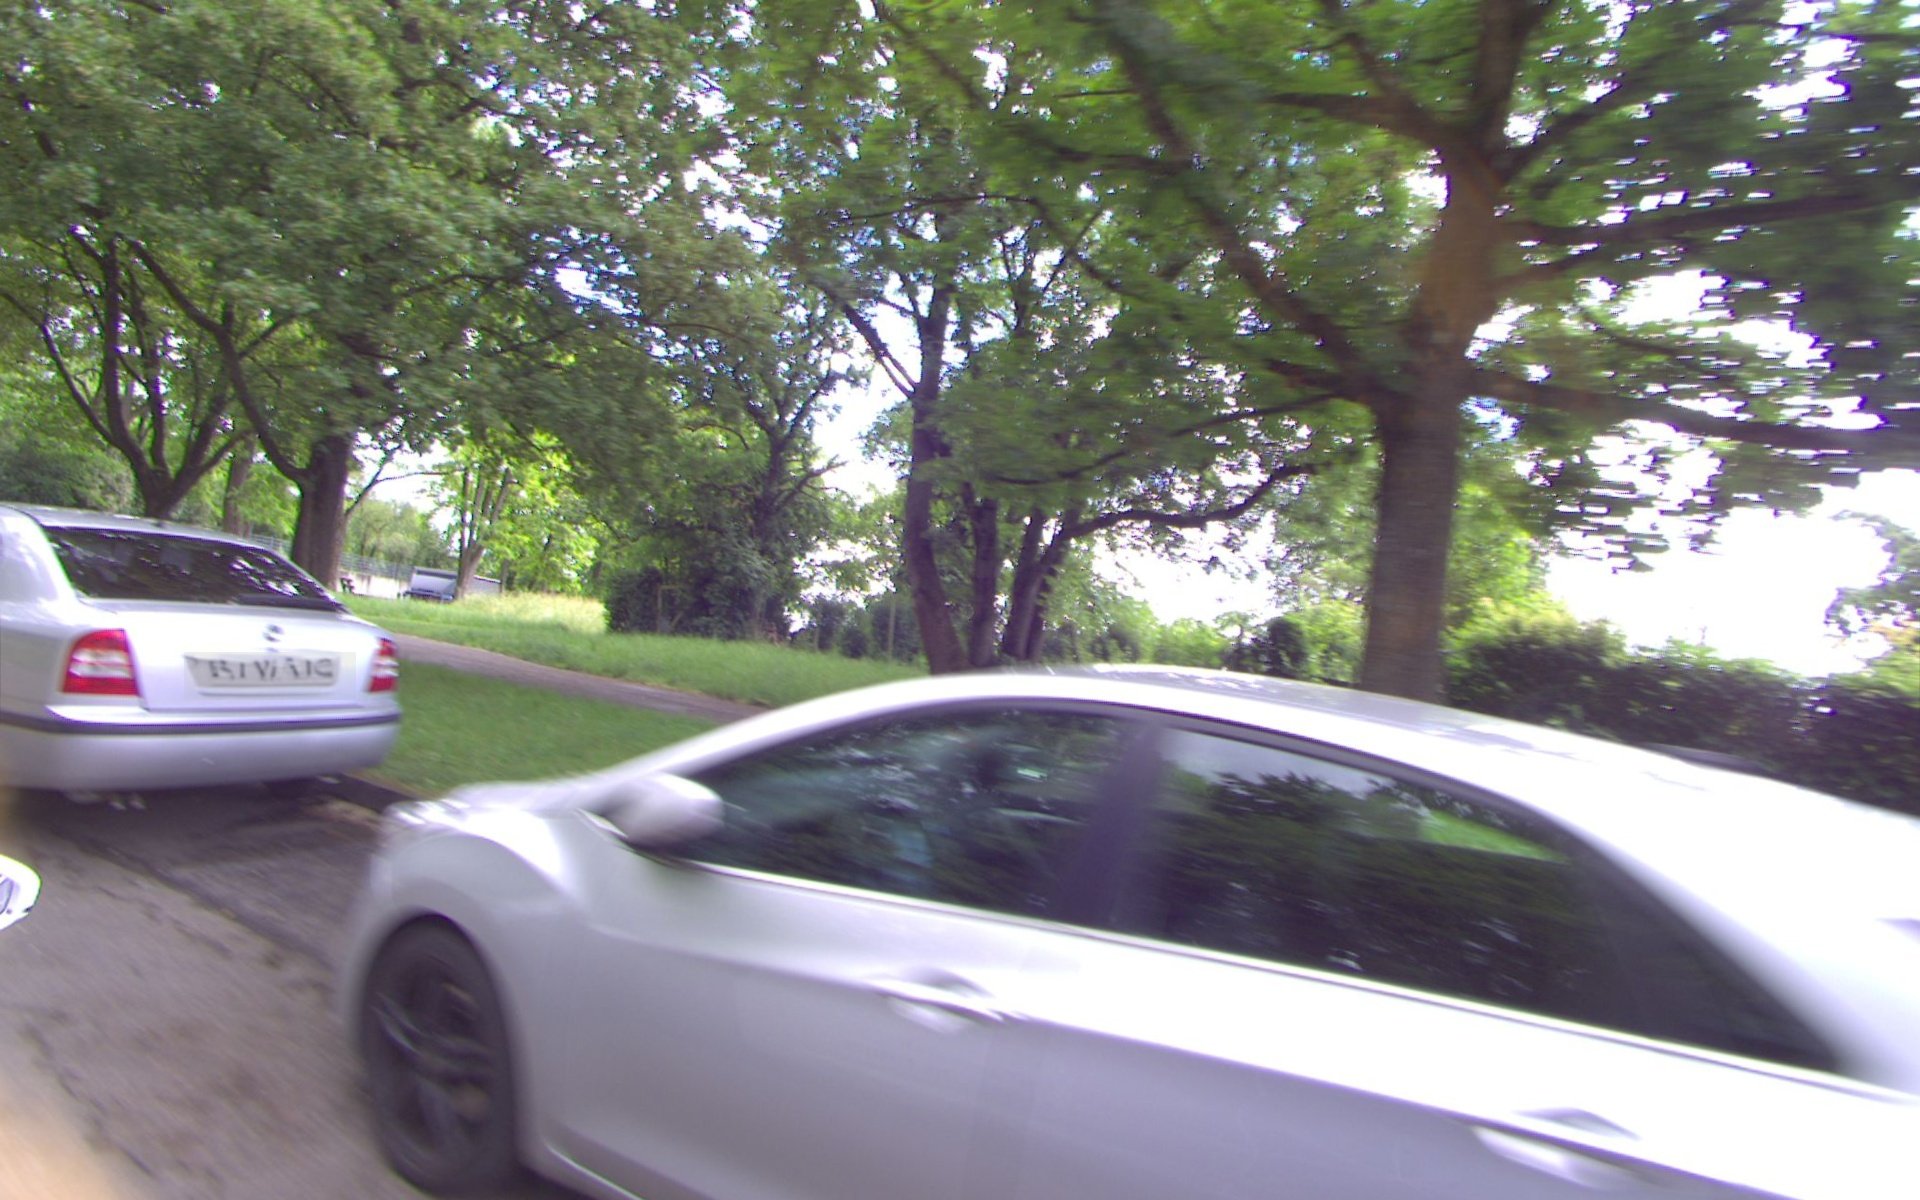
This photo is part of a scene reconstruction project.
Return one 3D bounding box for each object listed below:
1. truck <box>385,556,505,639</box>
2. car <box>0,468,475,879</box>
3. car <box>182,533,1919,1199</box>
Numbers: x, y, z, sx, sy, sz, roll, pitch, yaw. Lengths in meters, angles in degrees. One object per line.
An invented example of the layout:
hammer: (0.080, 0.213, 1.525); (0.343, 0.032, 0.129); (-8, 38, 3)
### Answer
truck: (-30.047, 0.055, 59.259); (2.651, 4.039, 9.575); (7, -4, -7)
car: (-5.091, 0.120, 5.634); (4.554, 1.543, 1.746); (7, -1, 27)
car: (0.126, 0.817, 2.630); (3.991, 1.492, 1.908); (5, -4, 30)
